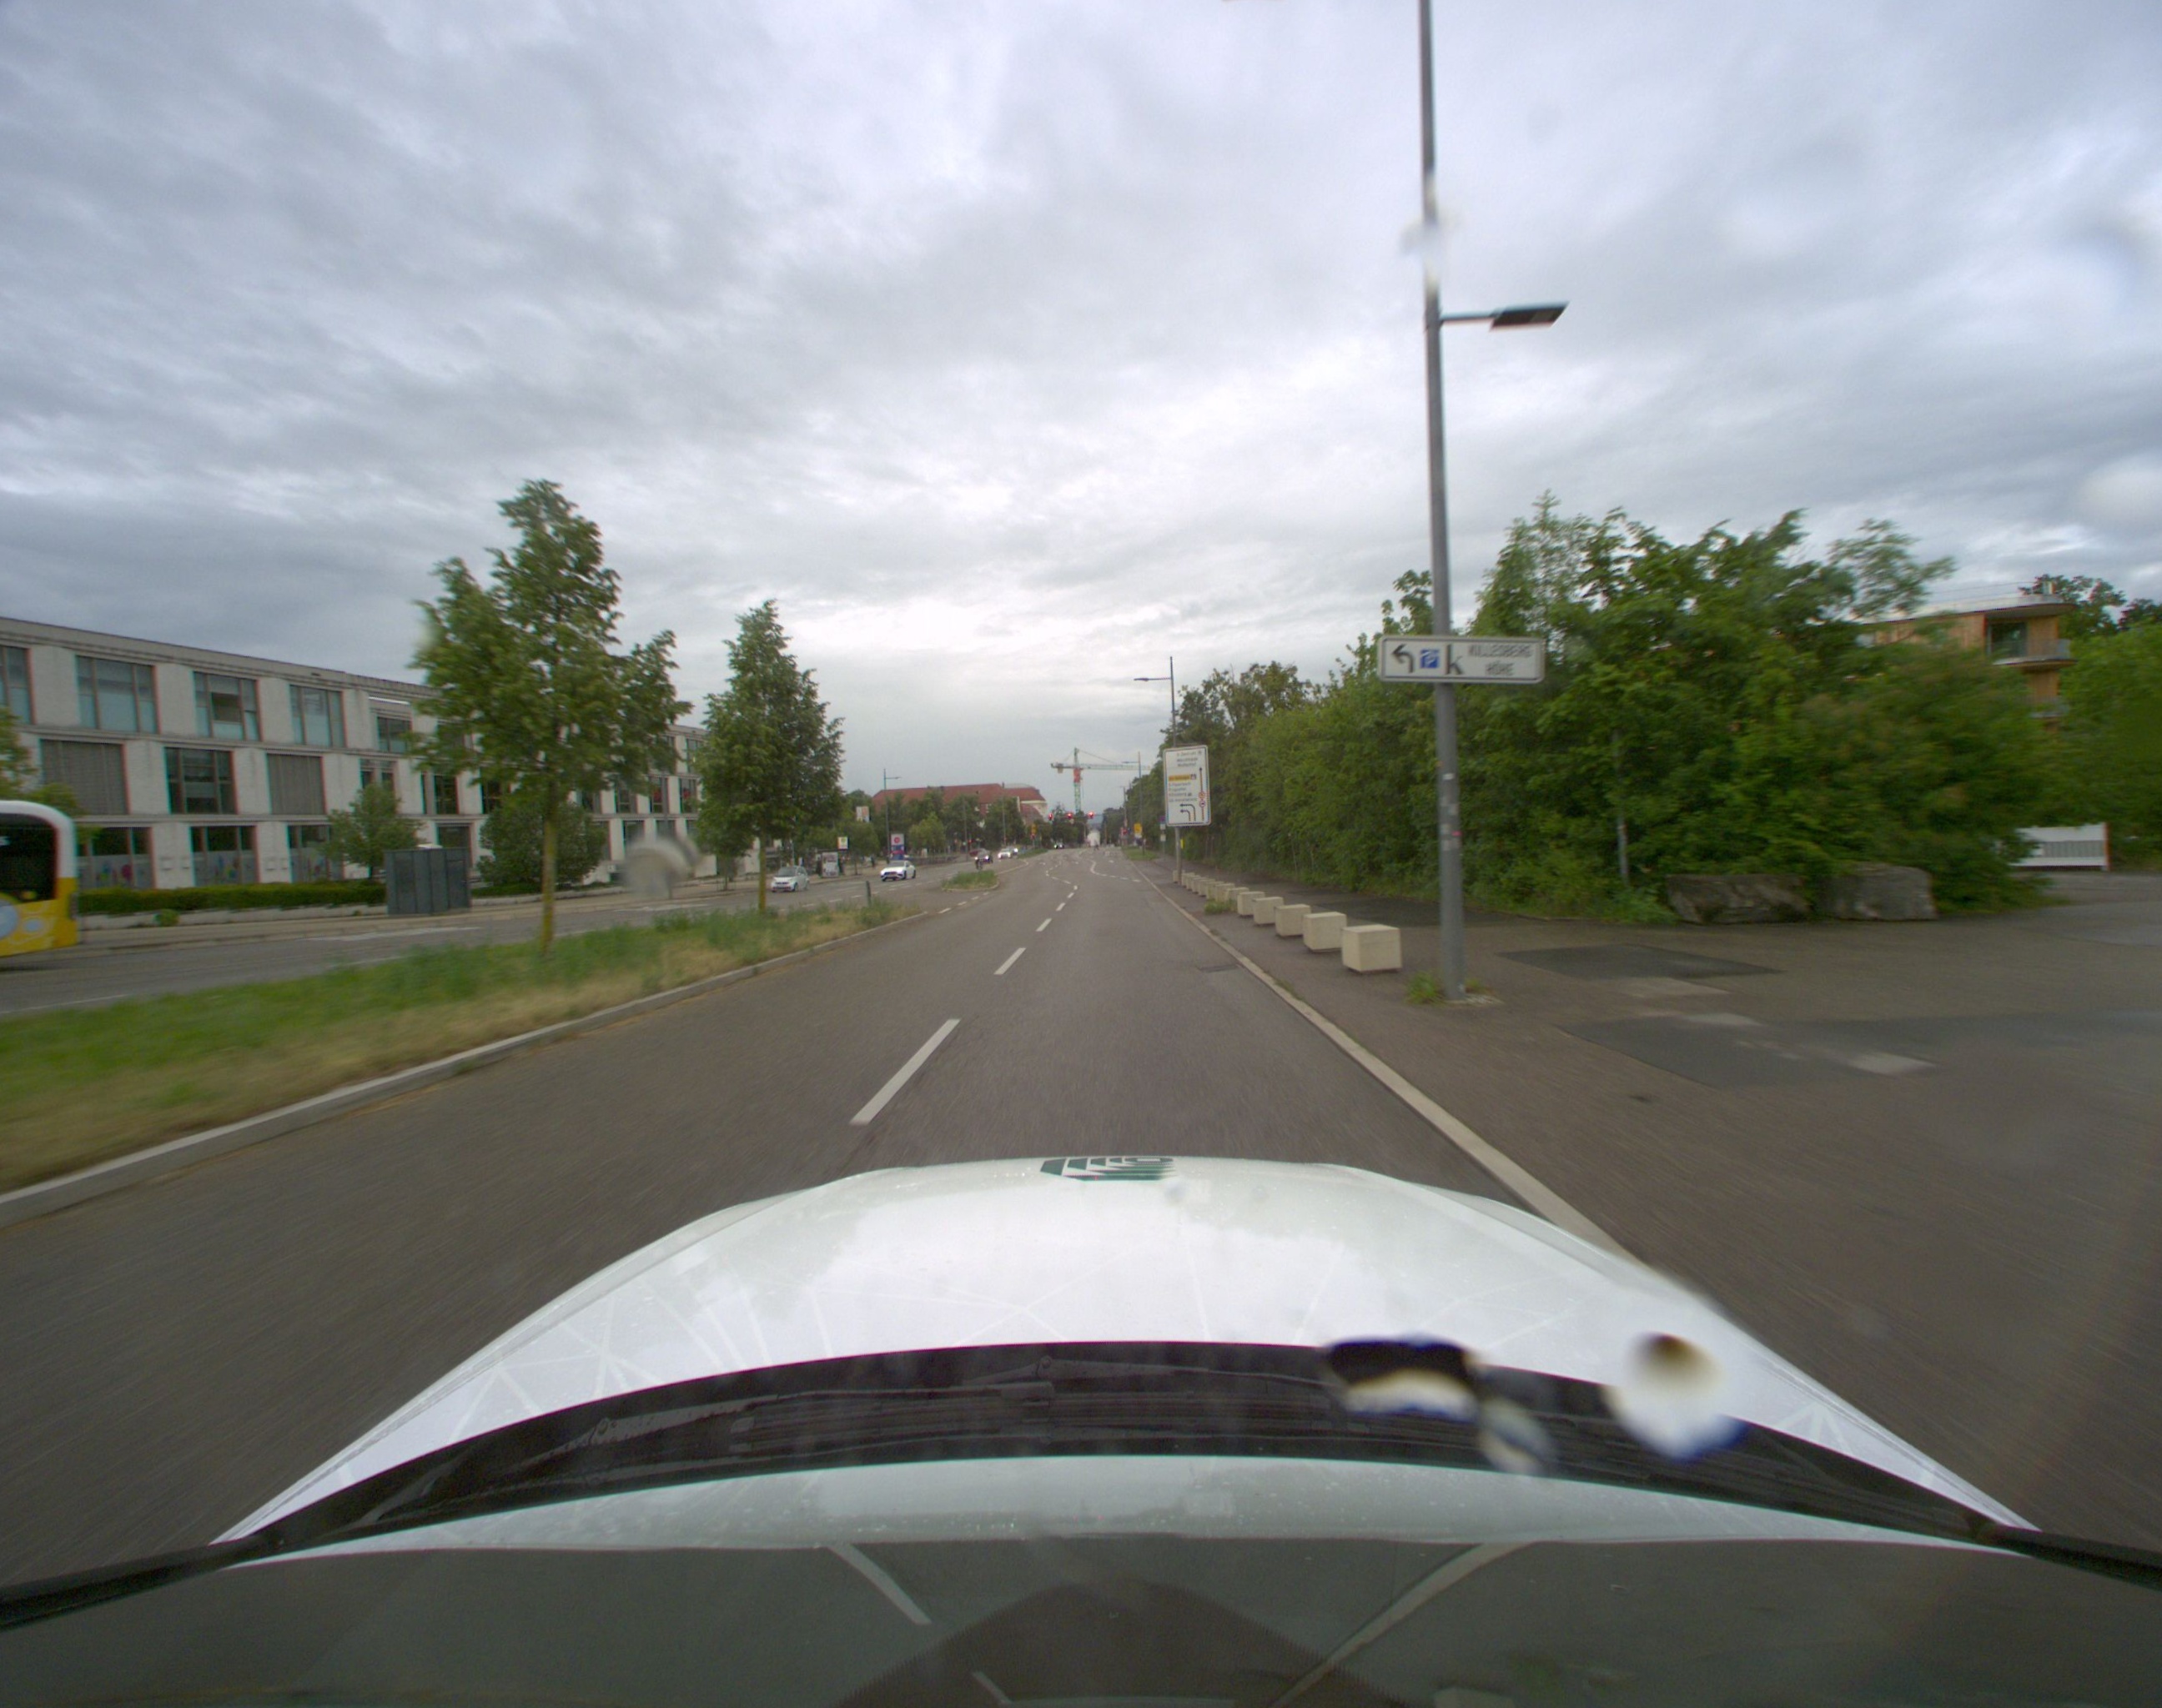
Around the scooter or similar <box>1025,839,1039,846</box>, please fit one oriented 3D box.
[{"bbox_3d":[-11.361,-2.689,189.308,3.078,1.440,0.949,-3,1,0],"label":"scooter or similar"}]

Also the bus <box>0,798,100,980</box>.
[{"bbox_3d":[-22.480,0.690,13.070,2.805,3.472,8.252,-1,0,9],"label":"bus"}]

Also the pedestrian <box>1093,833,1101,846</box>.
[{"bbox_3d":[2.522,-2.285,128.992,0.935,2.013,0.849,-6,1,7],"label":"pedestrian"}]

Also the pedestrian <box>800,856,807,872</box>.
[{"bbox_3d":[-25.909,0.934,75.965,0.424,1.451,0.510,-3,1,2],"label":"pedestrian"}]

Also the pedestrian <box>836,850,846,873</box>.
[{"bbox_3d":[-20.373,0.623,69.021,0.505,1.842,0.756,-3,1,1],"label":"pedestrian"}]

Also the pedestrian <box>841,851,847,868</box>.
[{"bbox_3d":[-24.634,0.562,84.689,0.498,1.690,0.911,-3,1,-15],"label":"pedestrian"}]

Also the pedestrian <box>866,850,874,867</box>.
[{"bbox_3d":[-22.845,0.480,88.200,0.596,1.762,0.858,-3,1,4],"label":"pedestrian"}]

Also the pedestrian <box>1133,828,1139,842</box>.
[{"bbox_3d":[7.845,-2.668,115.967,0.639,1.900,0.717,-3,1,-4],"label":"pedestrian"}]

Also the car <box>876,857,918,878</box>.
[{"bbox_3d":[-14.005,0.997,62.139,1.986,1.418,4.515,-2,0,2],"label":"car"}]

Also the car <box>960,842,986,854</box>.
[{"bbox_3d":[-19.389,-1.028,146.357,3.951,1.916,2.012,-3,1,24],"label":"car"}]

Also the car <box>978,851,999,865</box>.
[{"bbox_3d":[-10.993,0.450,97.470,1.839,1.462,3.869,-4,0,2],"label":"car"}]

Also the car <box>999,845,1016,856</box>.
[{"bbox_3d":[-10.740,-0.582,118.749,1.866,1.429,4.178,-5,0,2],"label":"car"}]

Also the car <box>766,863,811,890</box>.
[{"bbox_3d":[-18.101,1.366,50.465,1.607,1.508,2.974,-2,0,2],"label":"car"}]

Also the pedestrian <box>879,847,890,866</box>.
[{"bbox_3d":[-19.784,0.239,82.047,0.750,1.842,0.747,-3,1,4],"label":"pedestrian"}]

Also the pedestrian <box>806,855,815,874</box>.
[{"bbox_3d":[-25.049,0.956,75.298,0.522,1.725,0.567,-3,1,4],"label":"pedestrian"}]

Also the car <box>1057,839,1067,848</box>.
[{"bbox_3d":[-4.401,-2.441,185.518,1.985,1.838,4.003,-1,0,3],"label":"car"}]
